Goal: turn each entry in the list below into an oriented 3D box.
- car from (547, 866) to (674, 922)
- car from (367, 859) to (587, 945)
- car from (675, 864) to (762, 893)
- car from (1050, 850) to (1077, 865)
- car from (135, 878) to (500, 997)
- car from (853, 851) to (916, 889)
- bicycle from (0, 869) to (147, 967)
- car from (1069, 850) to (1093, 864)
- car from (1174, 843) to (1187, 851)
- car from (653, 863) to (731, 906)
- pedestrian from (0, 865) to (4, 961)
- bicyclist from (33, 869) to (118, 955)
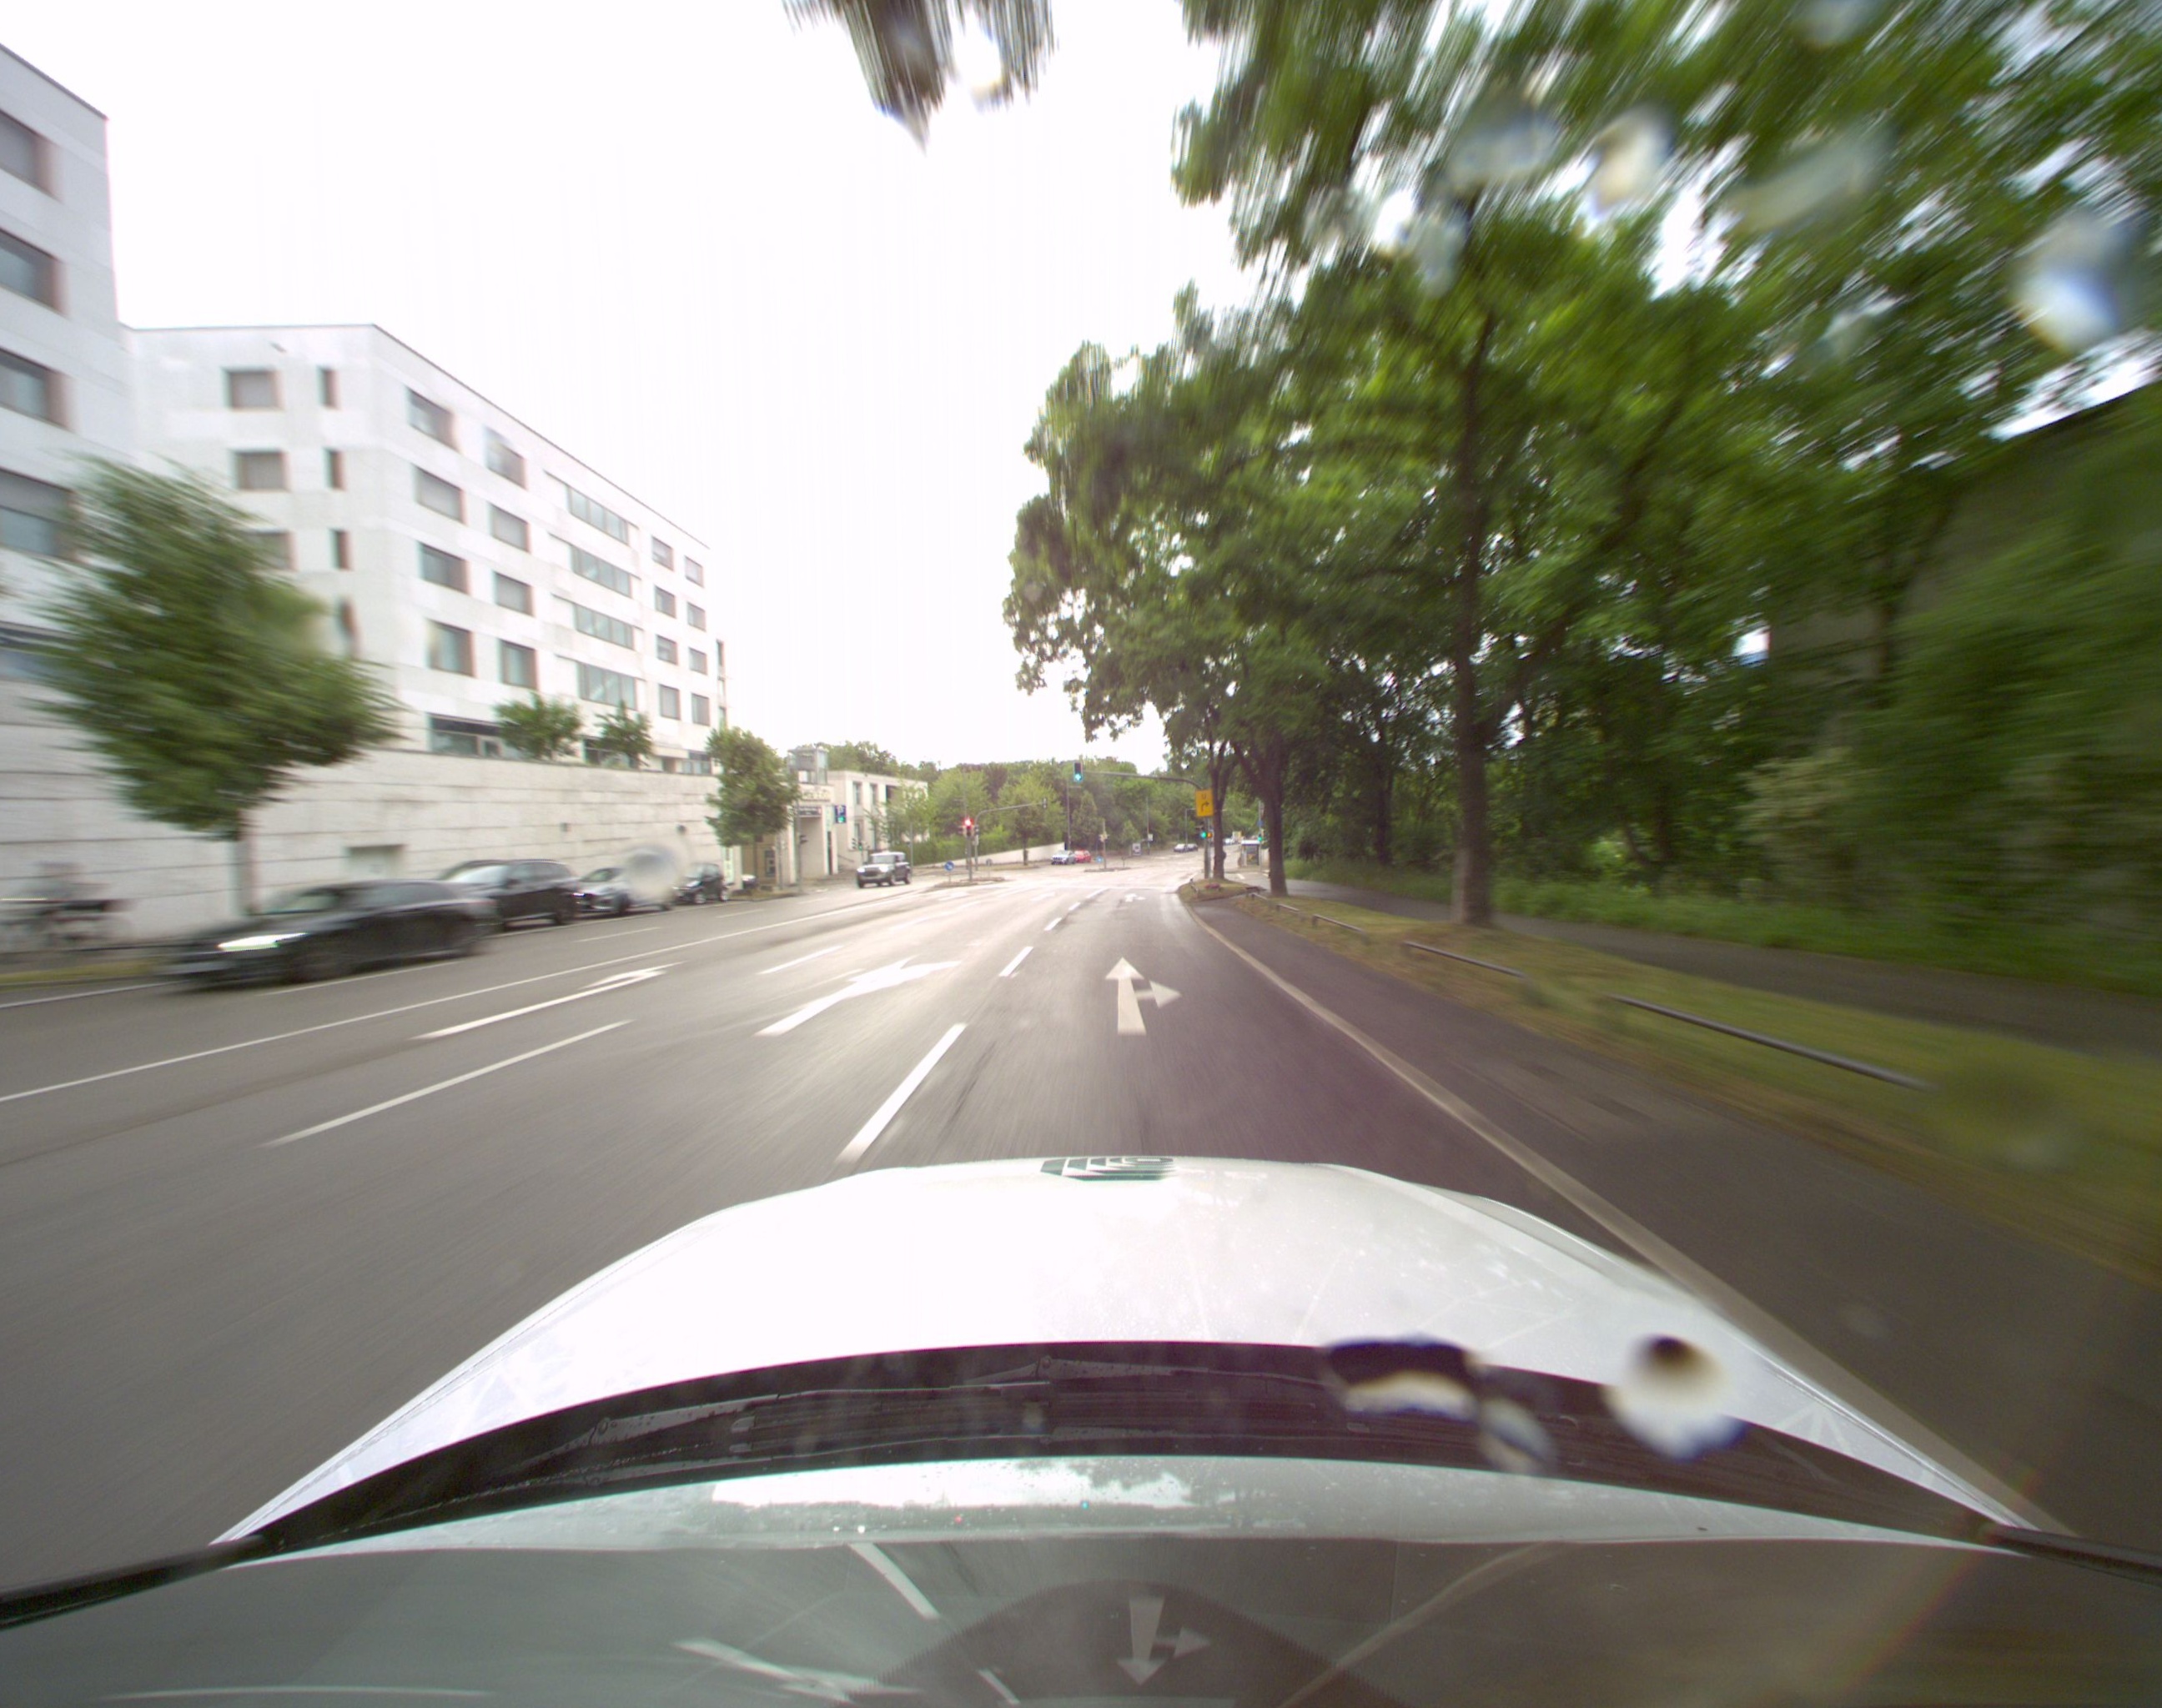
[{"bbox_3d":[-14.334,1.173,25.078,1.673,1.515,3.711,0,0,1],"label":"car"},{"bbox_3d":[-14.335,1.048,19.743,1.850,1.781,4.597,-1,0,0],"label":"car"},{"bbox_3d":[-22.495,1.503,50.662,4.487,1.672,1.927,-2,0,0],"label":"car"},{"bbox_3d":[-2.020,0.351,95.070,1.838,1.639,4.113,2,1,18],"label":"car"},{"bbox_3d":[-11.745,1.188,13.025,1.764,1.381,4.191,-3,0,1],"label":"car"},{"bbox_3d":[-11.064,0.860,46.171,1.911,1.857,4.514,-5,0,6],"label":"car"},{"bbox_3d":[-18.439,1.116,14.784,0.740,1.657,1.881,-2,-1,2],"label":"bicycle"},{"bbox_3d":[0.019,0.352,101.994,1.860,1.575,4.241,2,1,17],"label":"car"},{"bbox_3d":[18.885,-1.318,154.060,1.698,1.460,3.769,0,0,20],"label":"car"},{"bbox_3d":[-14.842,1.136,31.220,1.502,1.515,2.982,0,0,2],"label":"car"},{"bbox_3d":[-20.356,1.106,14.585,0.705,1.774,1.021,-1,0,1],"label":"pedestrian"},{"bbox_3d":[-18.439,1.041,14.948,0.574,1.518,0.769,-1,0,1],"label":"bicyclist"}]
